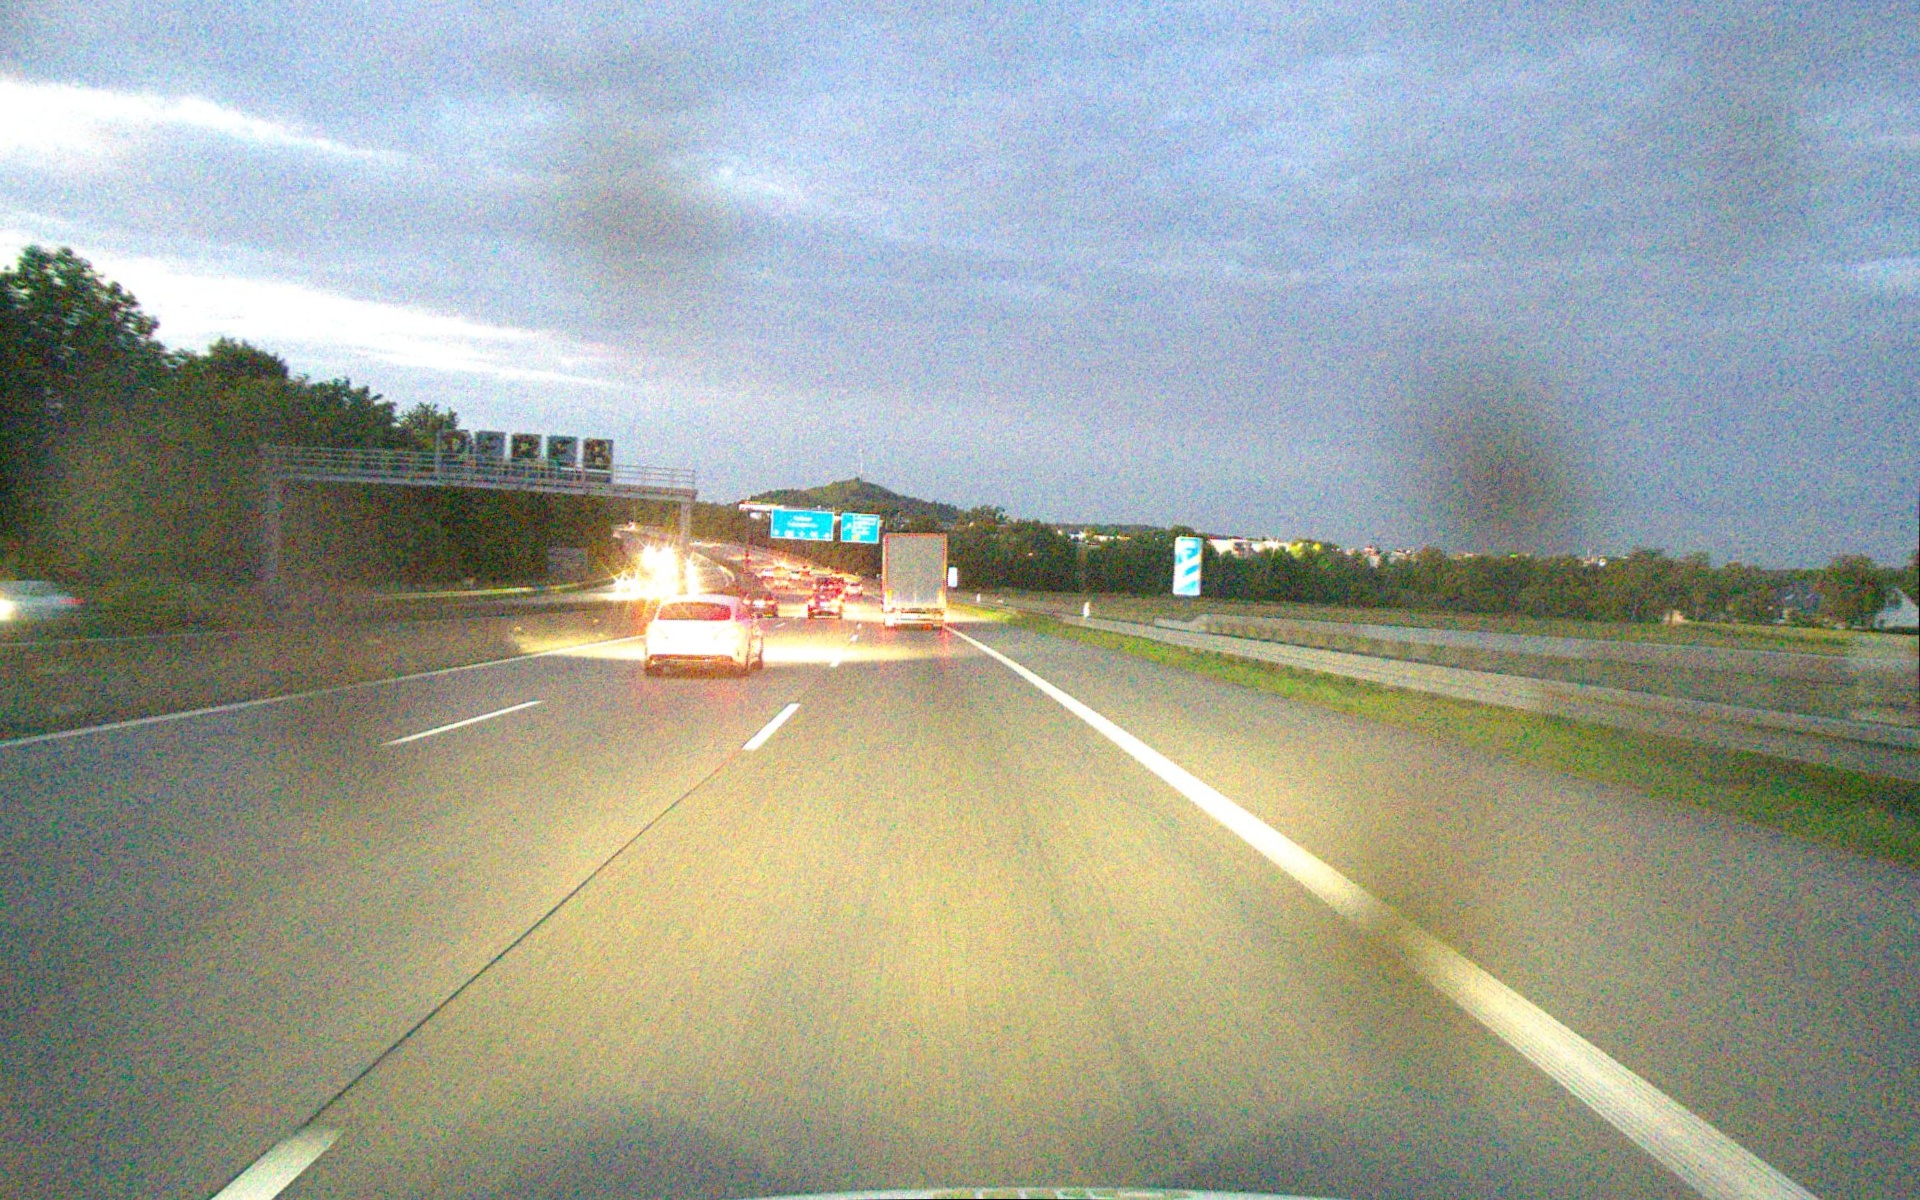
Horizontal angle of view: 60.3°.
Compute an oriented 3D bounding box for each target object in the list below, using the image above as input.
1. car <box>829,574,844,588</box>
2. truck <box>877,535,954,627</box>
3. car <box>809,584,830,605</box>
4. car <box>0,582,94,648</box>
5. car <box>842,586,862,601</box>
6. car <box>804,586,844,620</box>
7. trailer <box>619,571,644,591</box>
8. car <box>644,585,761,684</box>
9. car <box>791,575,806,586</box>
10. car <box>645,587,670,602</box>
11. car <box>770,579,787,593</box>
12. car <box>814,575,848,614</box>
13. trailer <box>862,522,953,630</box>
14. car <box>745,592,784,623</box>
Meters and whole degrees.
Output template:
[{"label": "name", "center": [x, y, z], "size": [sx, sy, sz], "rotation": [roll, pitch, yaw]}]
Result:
[{"label": "car", "center": [-18.006, -2.737, 240.328], "size": [1.956, 2.012, 3.993], "rotation": [1, 0, -8]}, {"label": "truck", "center": [-2.053, -0.854, 79.615], "size": [3.478, 4.163, 6.150], "rotation": [1, 0, 0]}, {"label": "car", "center": [-14.149, -0.540, 166.743], "size": [1.956, 2.049, 3.994], "rotation": [1, 0, -7]}, {"label": "car", "center": [-23.940, 0.334, 41.396], "size": [1.953, 1.560, 5.005], "rotation": [1, 0, -2]}, {"label": "car", "center": [-11.447, -0.700, 174.610], "size": [1.955, 1.561, 3.995], "rotation": [1, 0, -6]}, {"label": "car", "center": [-7.230, 0.143, 87.717], "size": [2.025, 1.715, 4.572], "rotation": [1, 0, -5]}, {"label": "trailer", "center": [-34.106, -1.951, 171.635], "size": [1.875, 2.037, 4.238], "rotation": [3, 0, -3]}, {"label": "car", "center": [-4.647, 0.578, 30.422], "size": [1.870, 1.642, 4.797], "rotation": [1, 0, -6]}, {"label": "car", "center": [-24.730, -2.993, 252.975], "size": [1.956, 1.650, 3.992], "rotation": [1, 0, -9]}, {"label": "car", "center": [-28.654, -0.493, 156.658], "size": [1.656, 1.378, 4.895], "rotation": [1, 0, -3]}, {"label": "car", "center": [-22.532, -1.753, 205.685], "size": [1.955, 1.650, 3.995], "rotation": [1, 0, -6]}, {"label": "car", "center": [-8.335, -0.334, 106.857], "size": [1.953, 2.422, 3.998], "rotation": [1, 0, -2]}, {"label": "trailer", "center": [-2.105, -0.903, 72.632], "size": [3.477, 4.188, 15.061], "rotation": [1, 0, 0]}, {"label": "car", "center": [-10.624, 0.390, 90.041], "size": [1.726, 1.602, 4.574], "rotation": [1, 0, -2]}]
